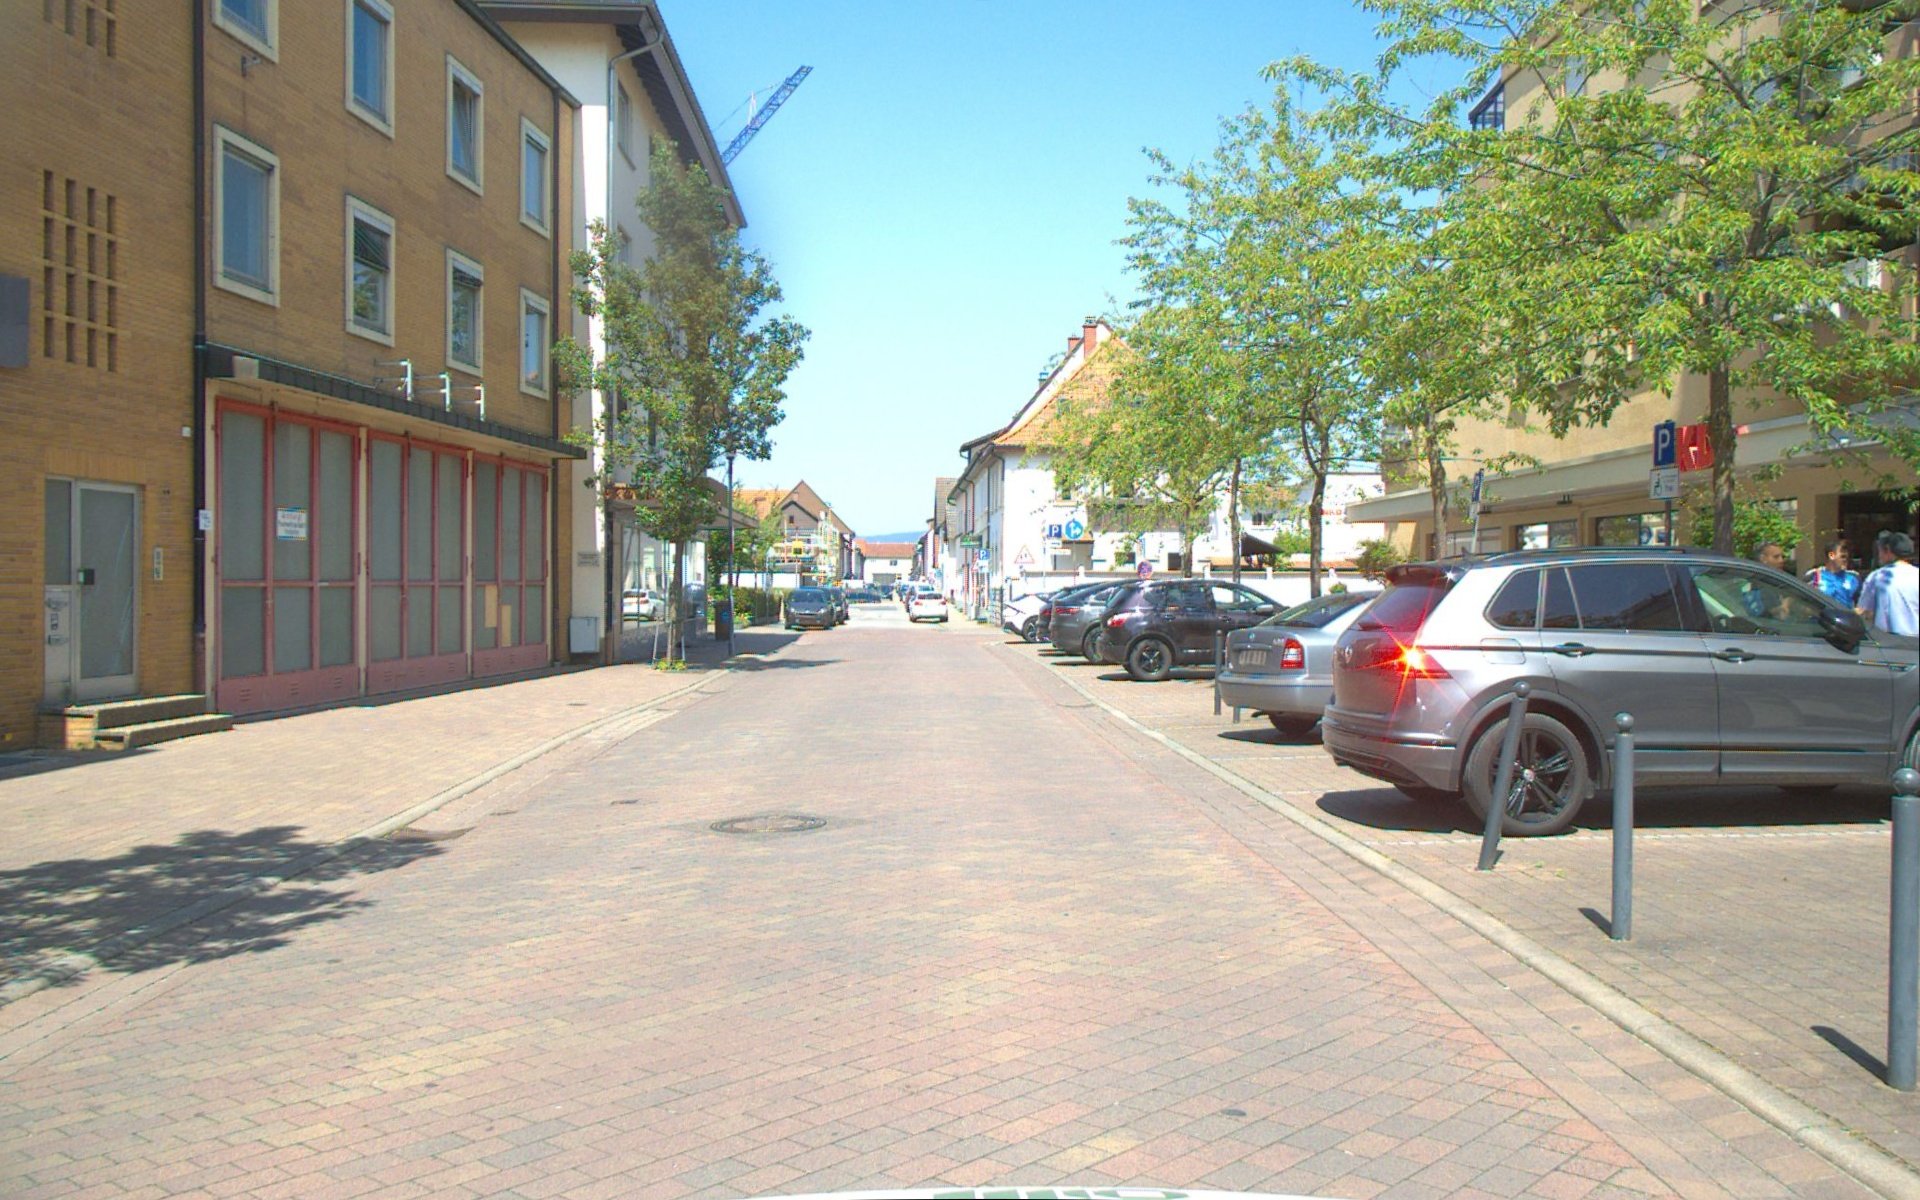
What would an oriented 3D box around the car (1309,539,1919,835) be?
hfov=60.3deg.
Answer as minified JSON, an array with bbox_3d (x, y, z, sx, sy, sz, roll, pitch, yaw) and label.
[{"bbox_3d":[4.477,0.478,10.383,4.159,1.646,1.756,-1,0,-3],"label":"car"}]

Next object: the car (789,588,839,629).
[{"bbox_3d":[-6.017,0.333,68.518,1.778,1.633,4.023,0,0,-1],"label":"car"}]

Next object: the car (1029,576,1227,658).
[{"bbox_3d":[3.772,0.364,37.561,4.194,1.710,1.999,-1,0,-4],"label":"car"}]

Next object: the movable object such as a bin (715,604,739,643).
[{"bbox_3d":[-6.611,0.673,46.968,0.643,1.089,0.662,1,0,-8],"label":"movable object such as a bin"}]

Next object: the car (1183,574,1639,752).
[{"bbox_3d":[4.618,0.564,16.880,4.319,1.489,1.875,-2,1,-26],"label":"car"}]

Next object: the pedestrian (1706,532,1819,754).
[{"bbox_3d":[6.793,0.353,14.009,0.617,1.827,0.602,0,0,-23],"label":"pedestrian"}]

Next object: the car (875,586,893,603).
[{"bbox_3d":[-8.149,-0.592,177.295,1.844,1.697,4.151,0,0,-3],"label":"car"}]

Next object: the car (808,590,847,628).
[{"bbox_3d":[-5.920,0.371,74.200,1.605,1.657,3.766,0,1,-3],"label":"car"}]

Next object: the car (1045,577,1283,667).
[{"bbox_3d":[3.912,0.413,32.234,4.415,1.616,1.850,-1,0,1],"label":"car"}]

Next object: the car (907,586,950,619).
[{"bbox_3d":[-1.526,0.117,81.458,1.847,1.569,4.244,0,0,2],"label":"car"}]

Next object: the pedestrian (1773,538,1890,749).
[{"bbox_3d":[7.636,0.368,14.507,0.618,1.804,0.685,0,0,-9],"label":"pedestrian"}]

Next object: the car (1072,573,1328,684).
[{"bbox_3d":[3.904,0.445,27.317,3.945,1.640,1.681,-2,2,-1],"label":"car"}]

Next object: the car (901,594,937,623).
[{"bbox_3d":[-2.513,0.504,101.330,1.848,1.583,3.890,-3,1,-5],"label":"car"}]

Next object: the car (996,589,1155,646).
[{"bbox_3d":[3.295,0.489,47.612,4.353,1.603,1.787,0,0,-5],"label":"car"}]

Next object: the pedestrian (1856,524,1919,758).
[{"bbox_3d":[7.322,0.312,12.827,0.603,1.761,0.646,1,-1,32],"label":"pedestrian"}]

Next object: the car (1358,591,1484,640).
[{"bbox_3d":[14.608,0.482,52.553,3.541,1.477,1.654,0,1,-2],"label":"car"}]

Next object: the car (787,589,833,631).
[{"bbox_3d":[-5.693,0.362,62.715,1.669,1.523,3.852,0,0,-6],"label":"car"}]
